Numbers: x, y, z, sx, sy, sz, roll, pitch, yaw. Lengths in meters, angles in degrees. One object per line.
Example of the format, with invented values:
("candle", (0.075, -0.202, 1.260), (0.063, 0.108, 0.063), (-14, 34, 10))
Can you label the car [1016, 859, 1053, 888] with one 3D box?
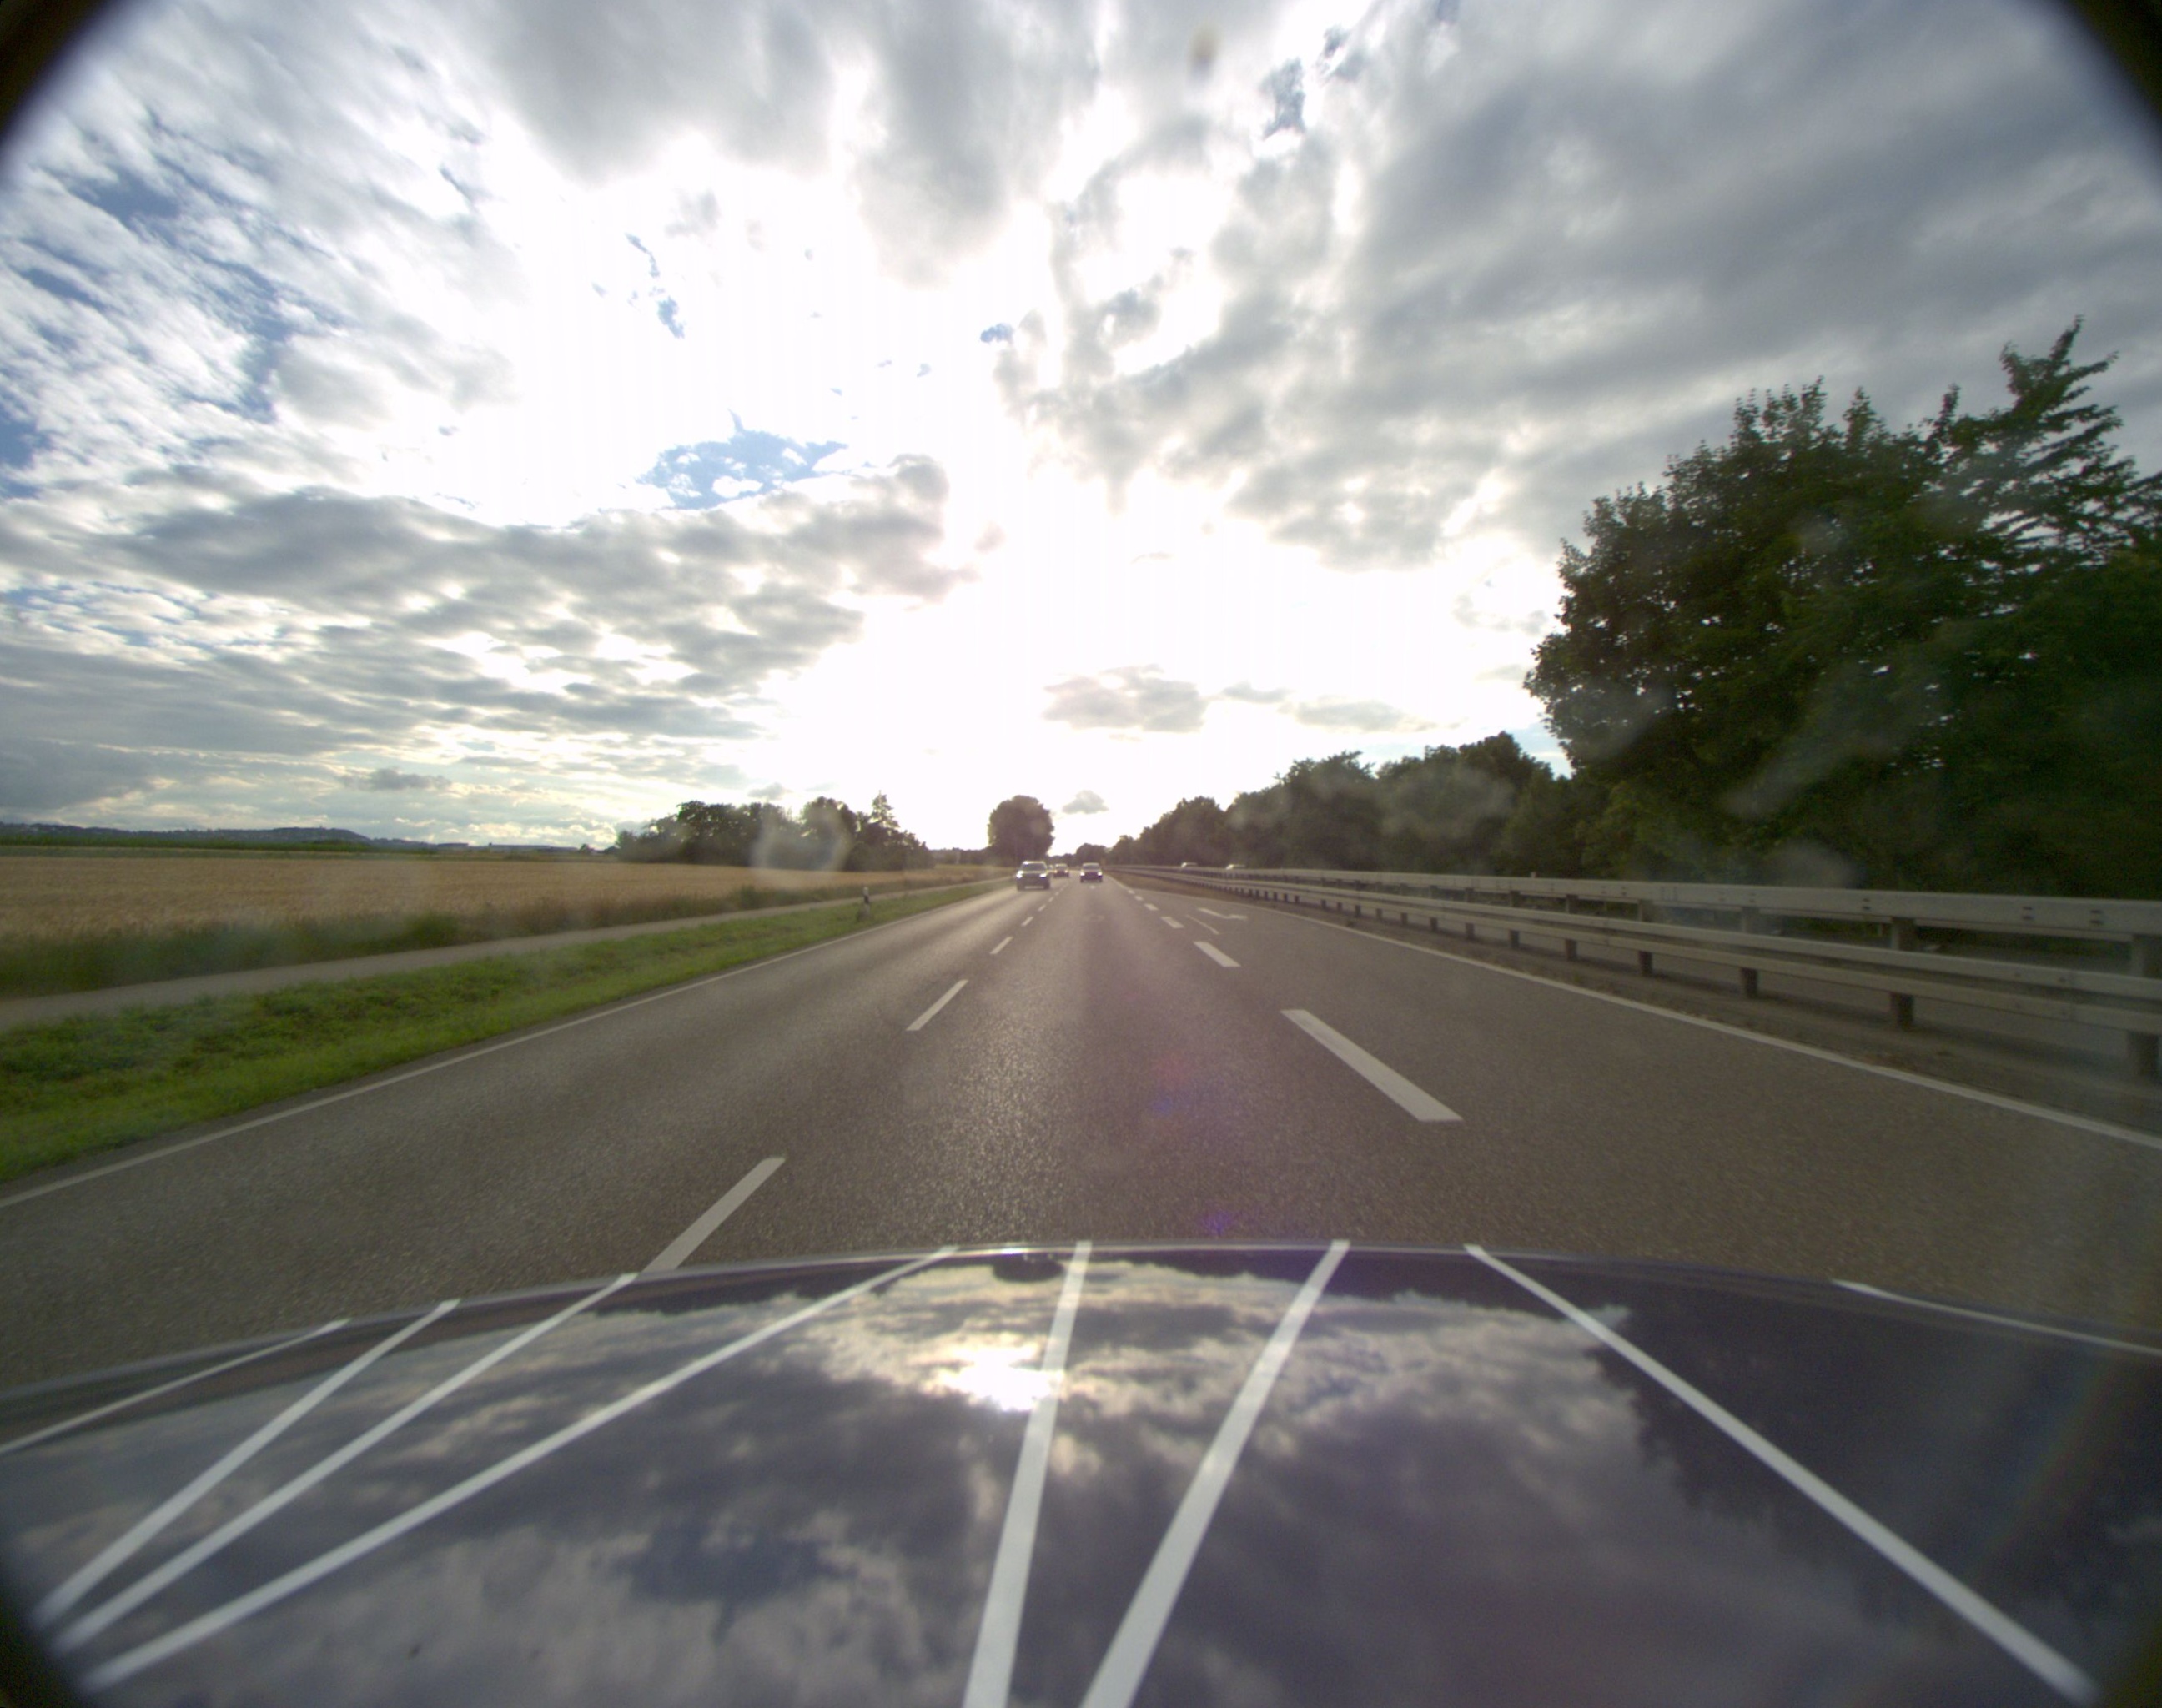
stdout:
("car", (-2.779, 1.141, 45.965), (1.863, 1.636, 4.000), (-1, 0, 1))

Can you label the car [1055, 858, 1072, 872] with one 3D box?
("car", (-1.915, 1.222, 84.060), (1.823, 1.409, 4.000), (-1, 0, 0))

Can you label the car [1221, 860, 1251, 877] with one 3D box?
("car", (13.824, 1.294, 67.832), (1.763, 1.404, 4.459), (0, -1, 0))

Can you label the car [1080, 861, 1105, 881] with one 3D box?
("car", (0.867, 1.294, 58.737), (1.775, 1.388, 4.000), (-1, 0, 0))

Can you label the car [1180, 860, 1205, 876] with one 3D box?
("car", (10.280, 1.259, 70.129), (1.773, 1.459, 3.712), (0, -1, 0))
